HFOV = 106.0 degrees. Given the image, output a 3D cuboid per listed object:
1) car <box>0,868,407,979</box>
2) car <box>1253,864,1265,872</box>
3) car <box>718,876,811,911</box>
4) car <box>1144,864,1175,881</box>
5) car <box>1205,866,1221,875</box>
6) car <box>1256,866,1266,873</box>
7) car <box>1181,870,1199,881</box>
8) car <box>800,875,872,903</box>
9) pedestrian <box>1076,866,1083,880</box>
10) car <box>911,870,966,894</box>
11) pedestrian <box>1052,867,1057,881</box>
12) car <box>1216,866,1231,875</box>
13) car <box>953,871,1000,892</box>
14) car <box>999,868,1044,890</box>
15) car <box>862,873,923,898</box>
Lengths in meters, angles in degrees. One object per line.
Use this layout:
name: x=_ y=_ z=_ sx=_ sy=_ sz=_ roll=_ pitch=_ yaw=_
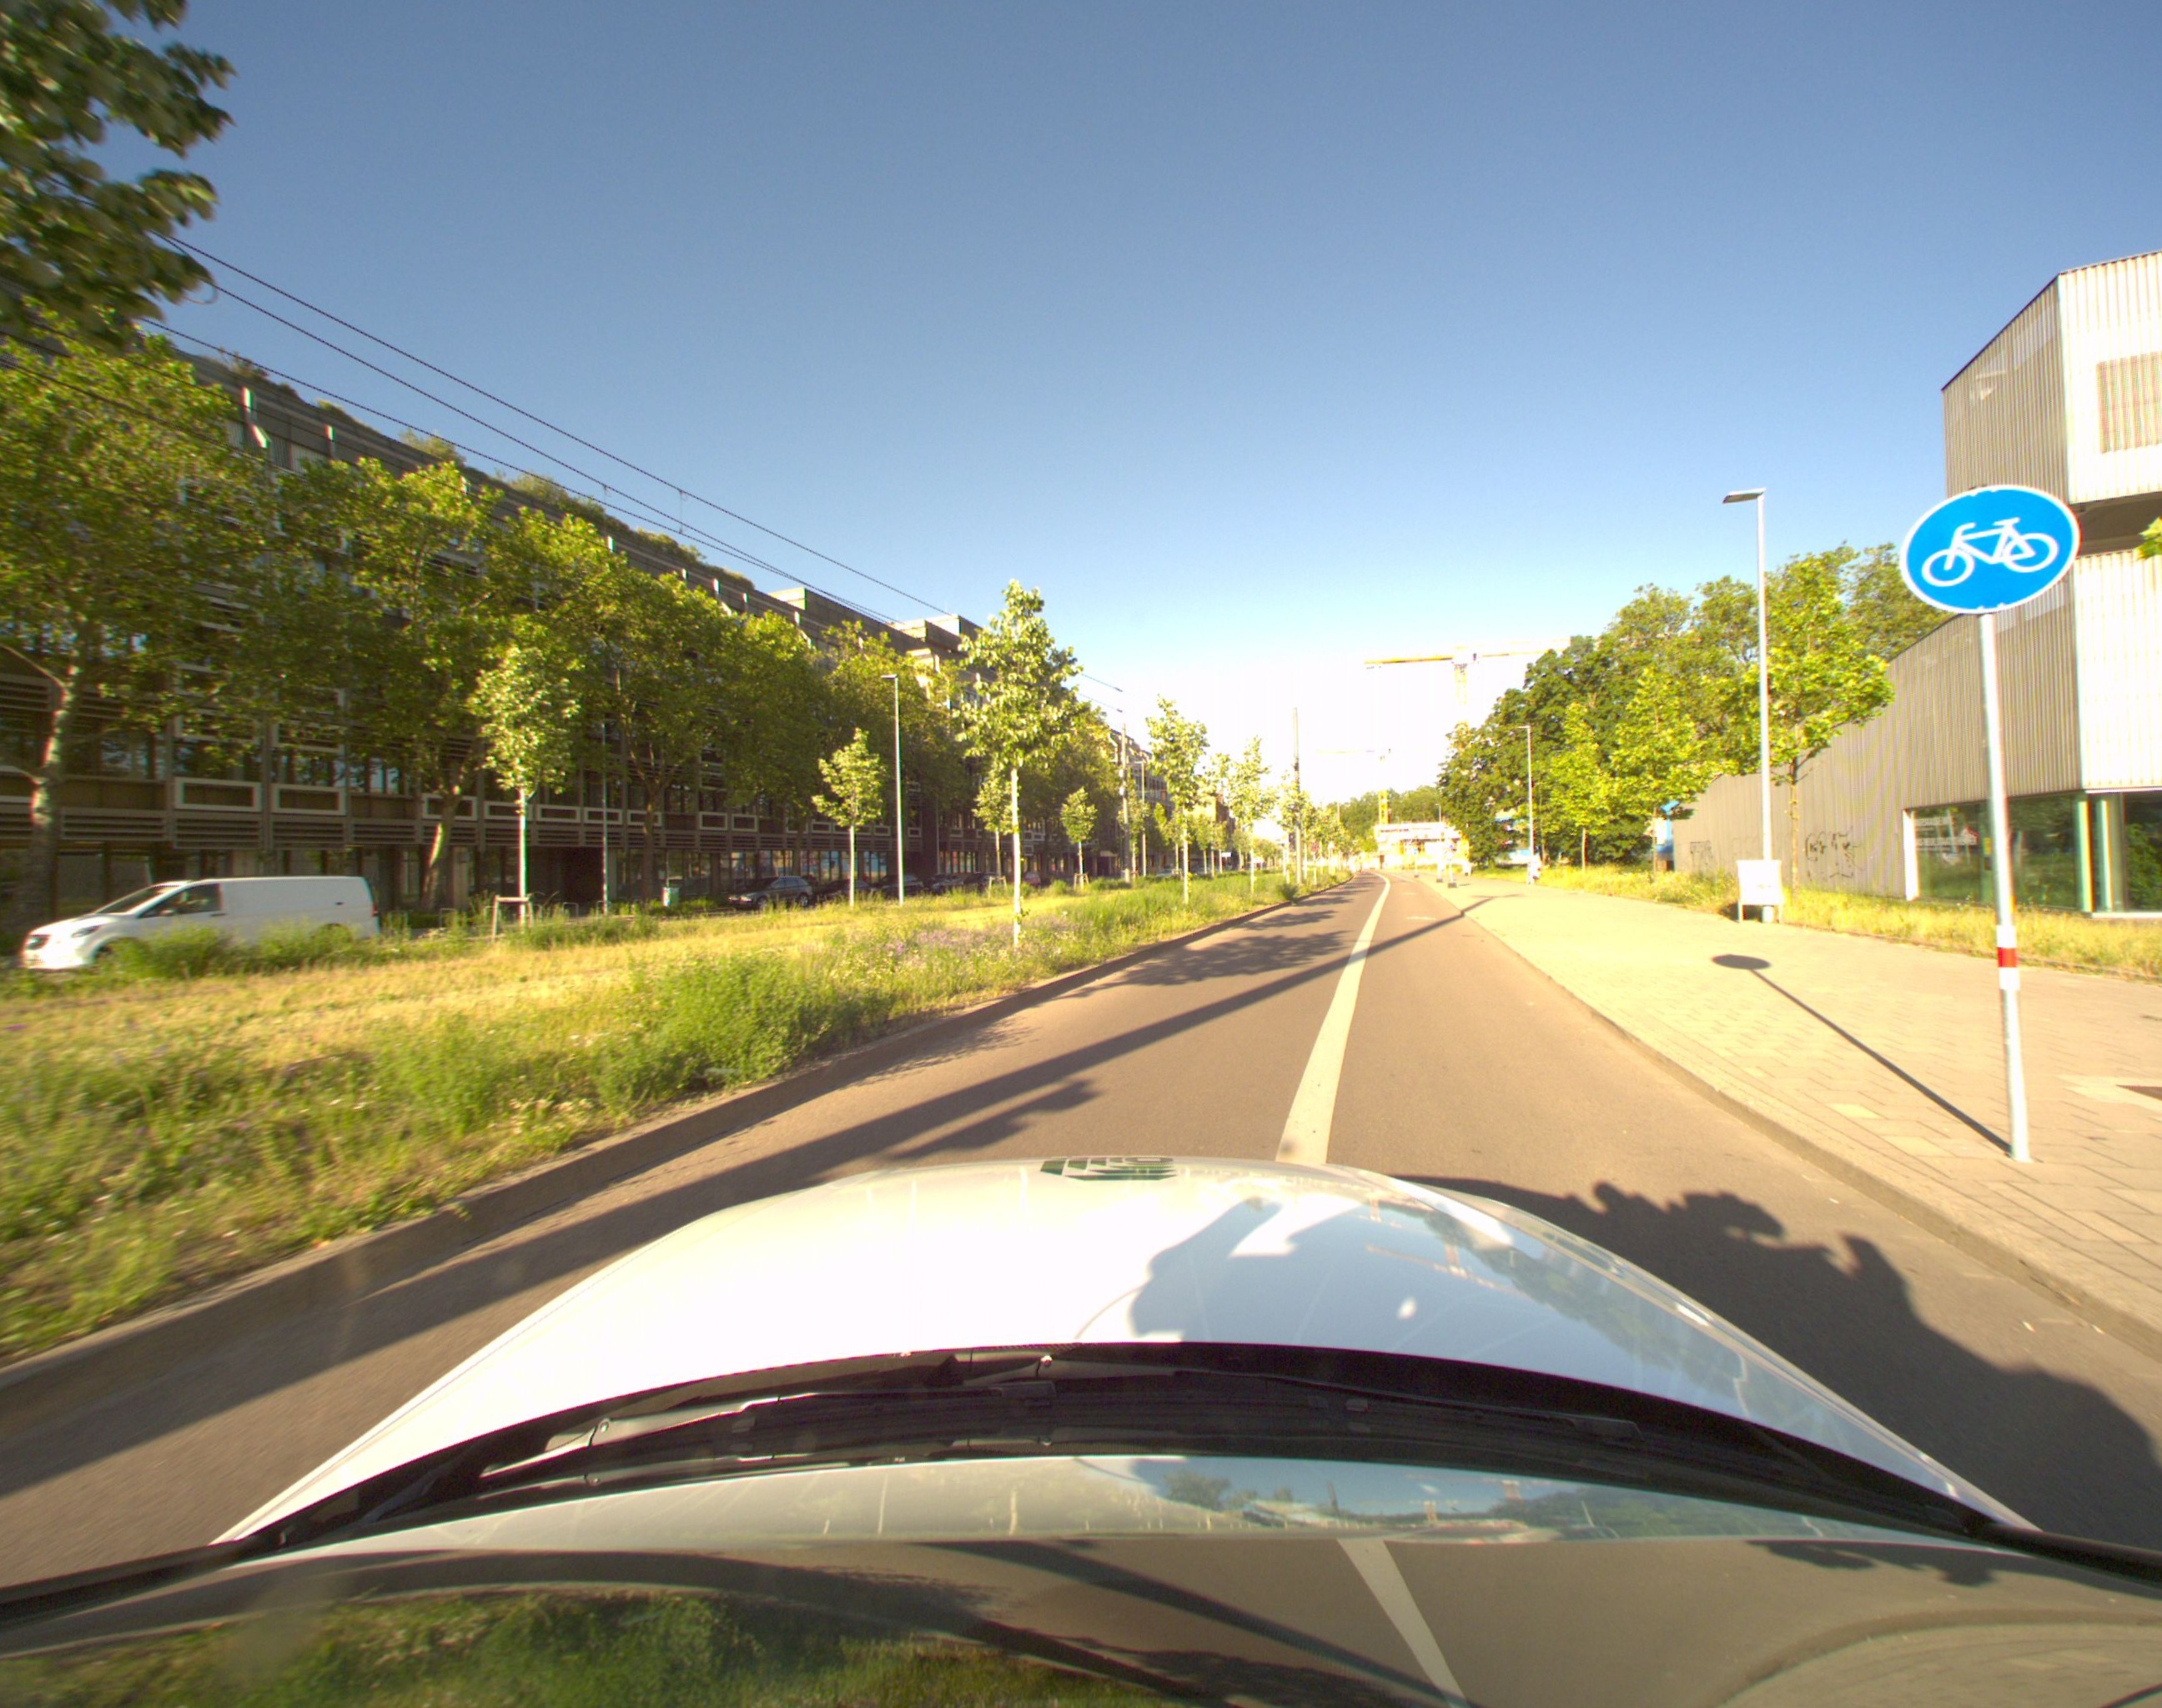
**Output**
car: x=-19.024 y=1.394 z=18.144 sx=2.238 sy=2.014 sz=5.740 roll=-4 pitch=-2 yaw=23
car: x=38.218 y=2.963 z=175.074 sx=1.888 sy=1.575 sz=4.431 roll=-2 pitch=-1 yaw=19
car: x=-16.939 y=2.064 z=43.852 sx=1.977 sy=1.680 sz=4.891 roll=0 pitch=-1 yaw=19
car: x=8.402 y=1.970 z=86.649 sx=1.824 sy=1.594 sz=4.718 roll=-4 pitch=-2 yaw=22
car: x=22.562 y=2.832 z=139.241 sx=1.888 sy=1.575 sz=4.322 roll=-2 pitch=-1 yaw=19
car: x=44.154 y=3.752 z=199.531 sx=1.888 sy=1.575 sz=4.322 roll=-2 pitch=-1 yaw=19
car: x=16.616 y=3.268 z=124.043 sx=1.888 sy=1.575 sz=4.322 roll=-2 pitch=-1 yaw=19
car: x=-14.713 y=2.091 z=49.100 sx=1.975 sy=1.521 sz=4.022 roll=-1 pitch=-1 yaw=24
pedestrian: x=-0.140 y=2.094 z=91.232 sx=0.661 sy=1.532 sz=0.650 roll=-1 pitch=-1 yaw=2
car: x=-10.543 y=2.059 z=60.596 sx=1.893 sy=1.632 sz=4.386 roll=-4 pitch=-2 yaw=23
pedestrian: x=-2.948 y=2.199 z=91.012 sx=0.405 sy=1.562 sz=0.449 roll=-2 pitch=-2 yaw=22
car: x=26.678 y=3.080 z=152.283 sx=1.888 sy=1.575 sz=4.322 roll=-2 pitch=-1 yaw=19
car: x=-8.337 y=2.166 z=65.577 sx=1.844 sy=1.596 sz=4.299 roll=-3 pitch=-2 yaw=22
car: x=-4.446 y=1.884 z=61.357 sx=1.695 sy=1.453 sz=3.596 roll=-5 pitch=-2 yaw=25
car: x=-12.561 y=2.050 z=54.564 sx=1.729 sy=1.557 sz=4.646 roll=0 pitch=-1 yaw=20
